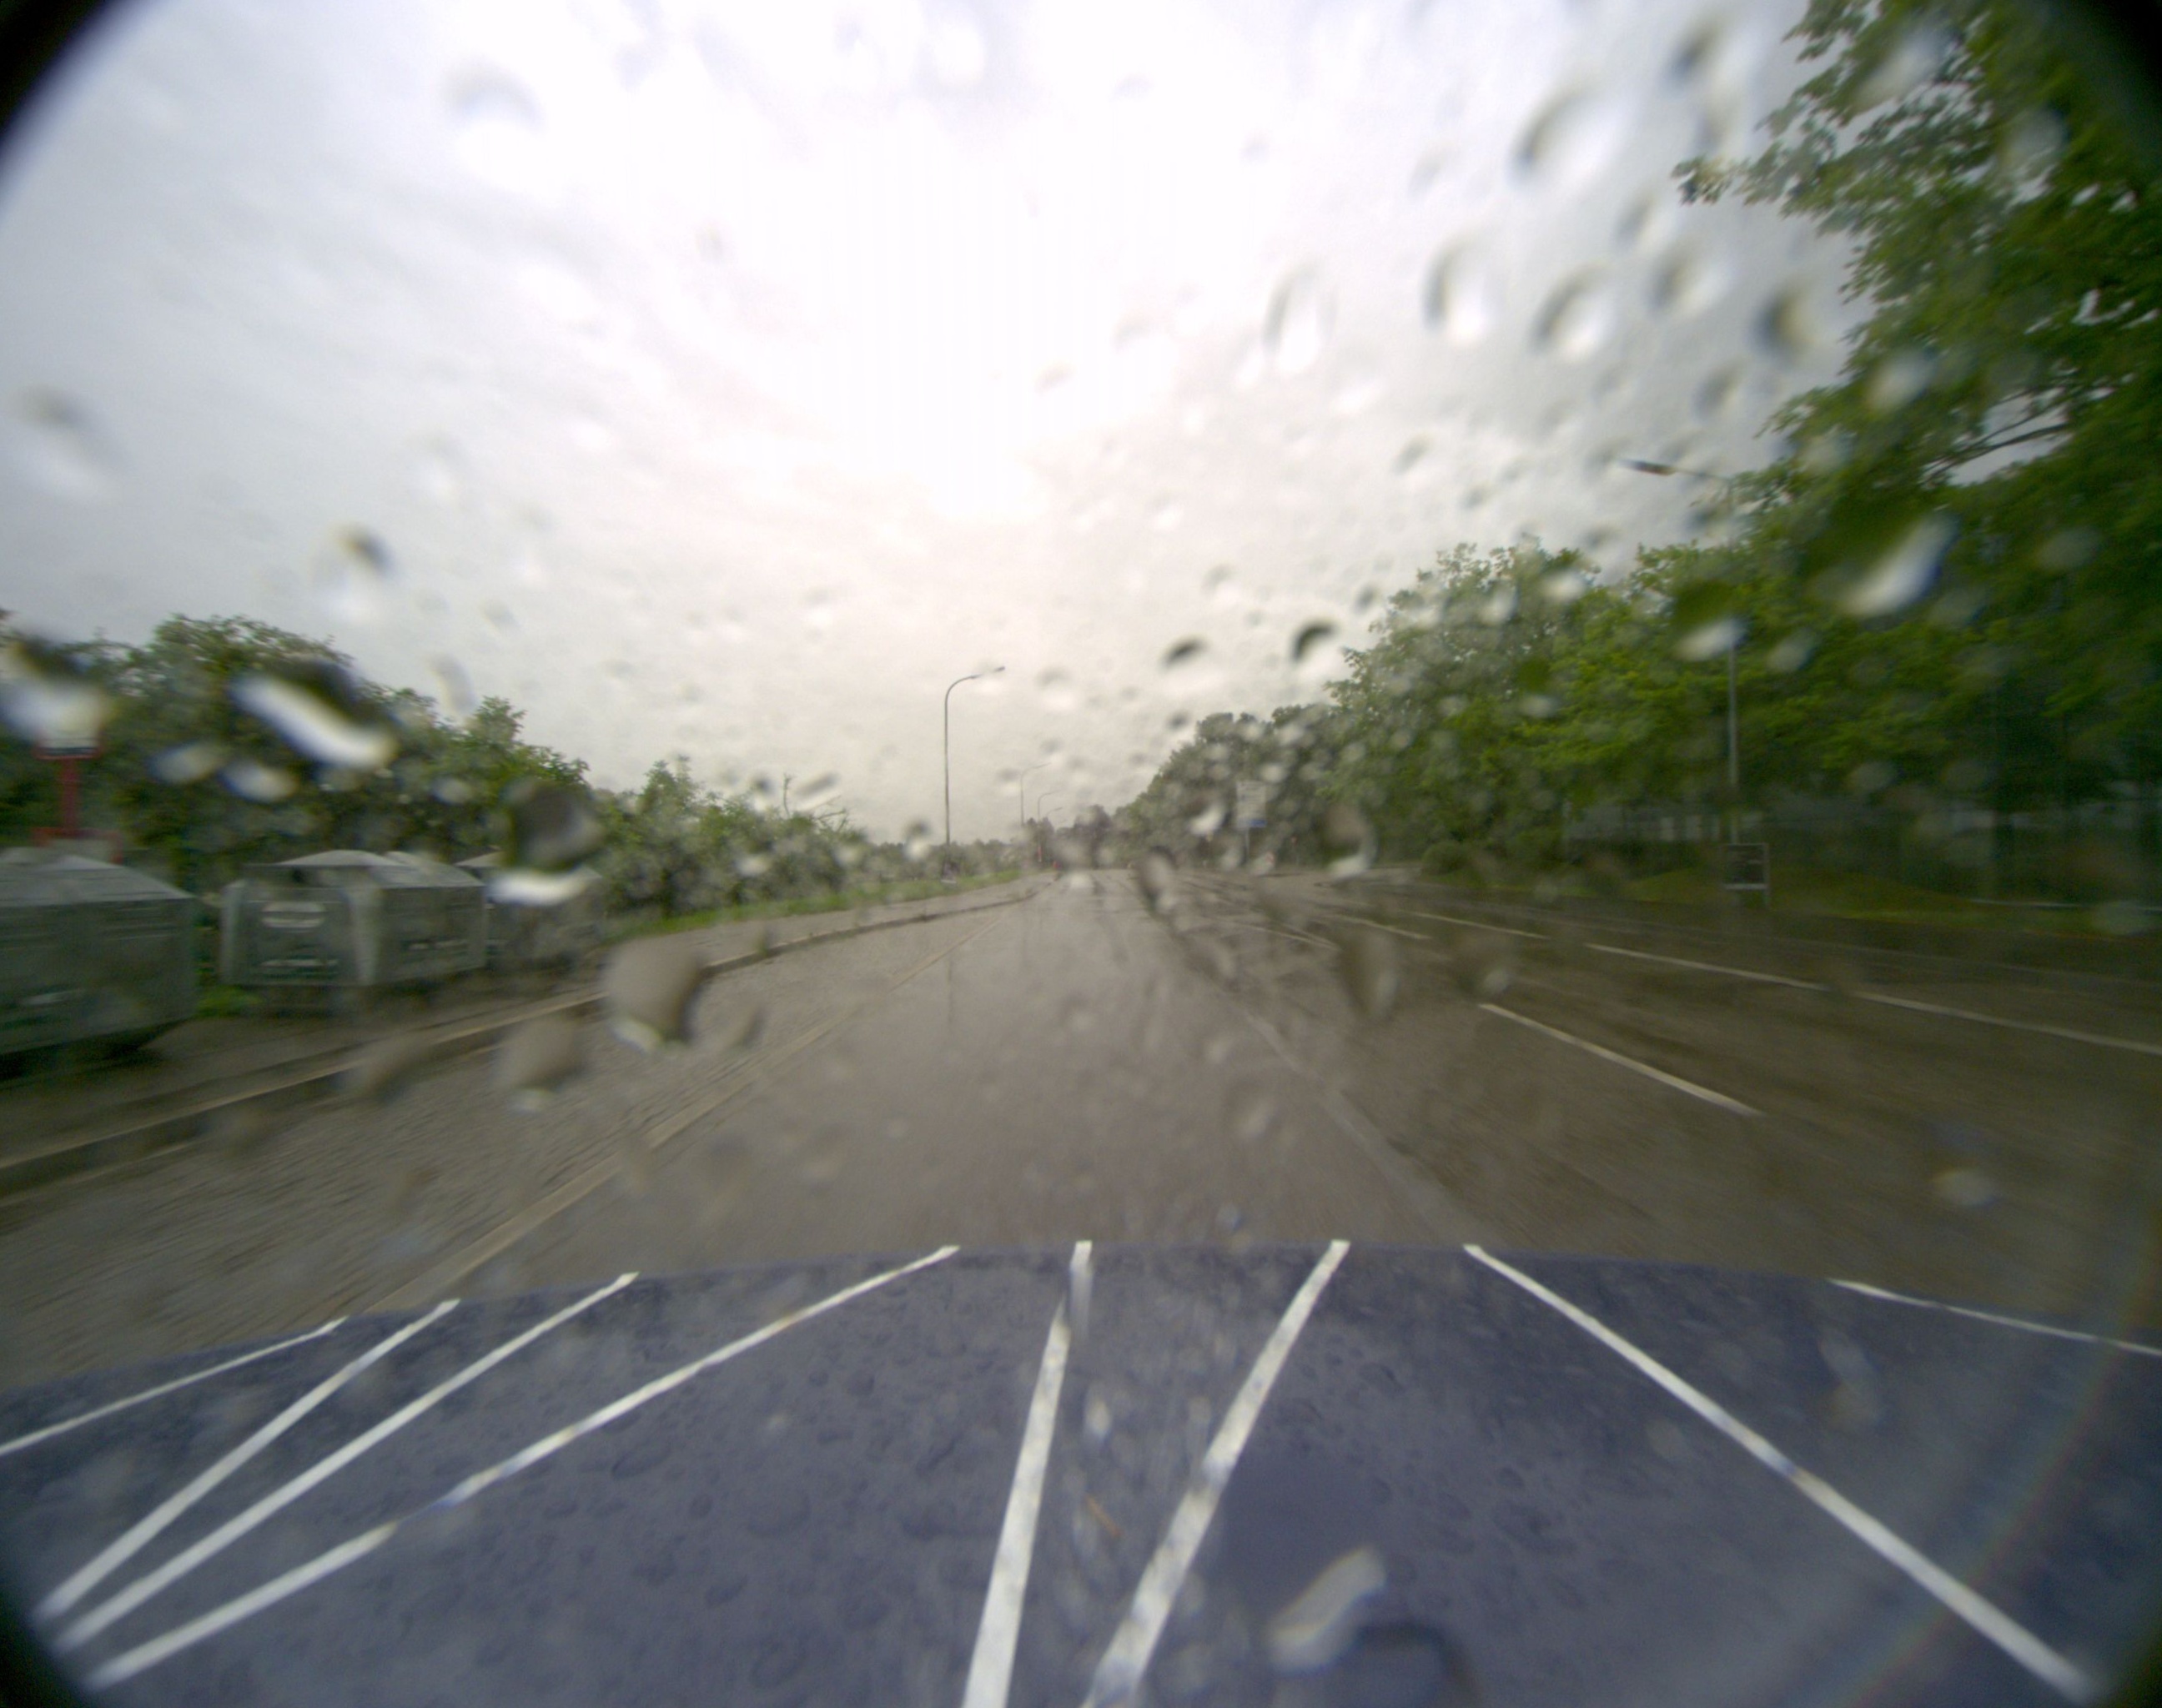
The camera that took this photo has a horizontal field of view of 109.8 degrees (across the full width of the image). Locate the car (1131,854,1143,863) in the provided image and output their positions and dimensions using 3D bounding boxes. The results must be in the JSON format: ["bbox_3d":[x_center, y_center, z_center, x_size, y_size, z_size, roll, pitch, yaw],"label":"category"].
[{"bbox_3d":[9.987,0.799,135.139,1.437,1.411,4.102,-1,0,-6],"label":"car"}]

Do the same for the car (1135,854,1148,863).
[{"bbox_3d":[10.343,0.776,129.976,1.691,1.411,4.740,-1,0,-3],"label":"car"}]

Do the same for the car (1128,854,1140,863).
[{"bbox_3d":[9.650,0.814,138.884,1.438,1.528,2.817,-1,0,-10],"label":"car"}]

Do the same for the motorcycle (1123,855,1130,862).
[{"bbox_3d":[8.667,0.917,145.967,0.840,1.333,2.497,-1,0,-7],"label":"motorcycle"}]
